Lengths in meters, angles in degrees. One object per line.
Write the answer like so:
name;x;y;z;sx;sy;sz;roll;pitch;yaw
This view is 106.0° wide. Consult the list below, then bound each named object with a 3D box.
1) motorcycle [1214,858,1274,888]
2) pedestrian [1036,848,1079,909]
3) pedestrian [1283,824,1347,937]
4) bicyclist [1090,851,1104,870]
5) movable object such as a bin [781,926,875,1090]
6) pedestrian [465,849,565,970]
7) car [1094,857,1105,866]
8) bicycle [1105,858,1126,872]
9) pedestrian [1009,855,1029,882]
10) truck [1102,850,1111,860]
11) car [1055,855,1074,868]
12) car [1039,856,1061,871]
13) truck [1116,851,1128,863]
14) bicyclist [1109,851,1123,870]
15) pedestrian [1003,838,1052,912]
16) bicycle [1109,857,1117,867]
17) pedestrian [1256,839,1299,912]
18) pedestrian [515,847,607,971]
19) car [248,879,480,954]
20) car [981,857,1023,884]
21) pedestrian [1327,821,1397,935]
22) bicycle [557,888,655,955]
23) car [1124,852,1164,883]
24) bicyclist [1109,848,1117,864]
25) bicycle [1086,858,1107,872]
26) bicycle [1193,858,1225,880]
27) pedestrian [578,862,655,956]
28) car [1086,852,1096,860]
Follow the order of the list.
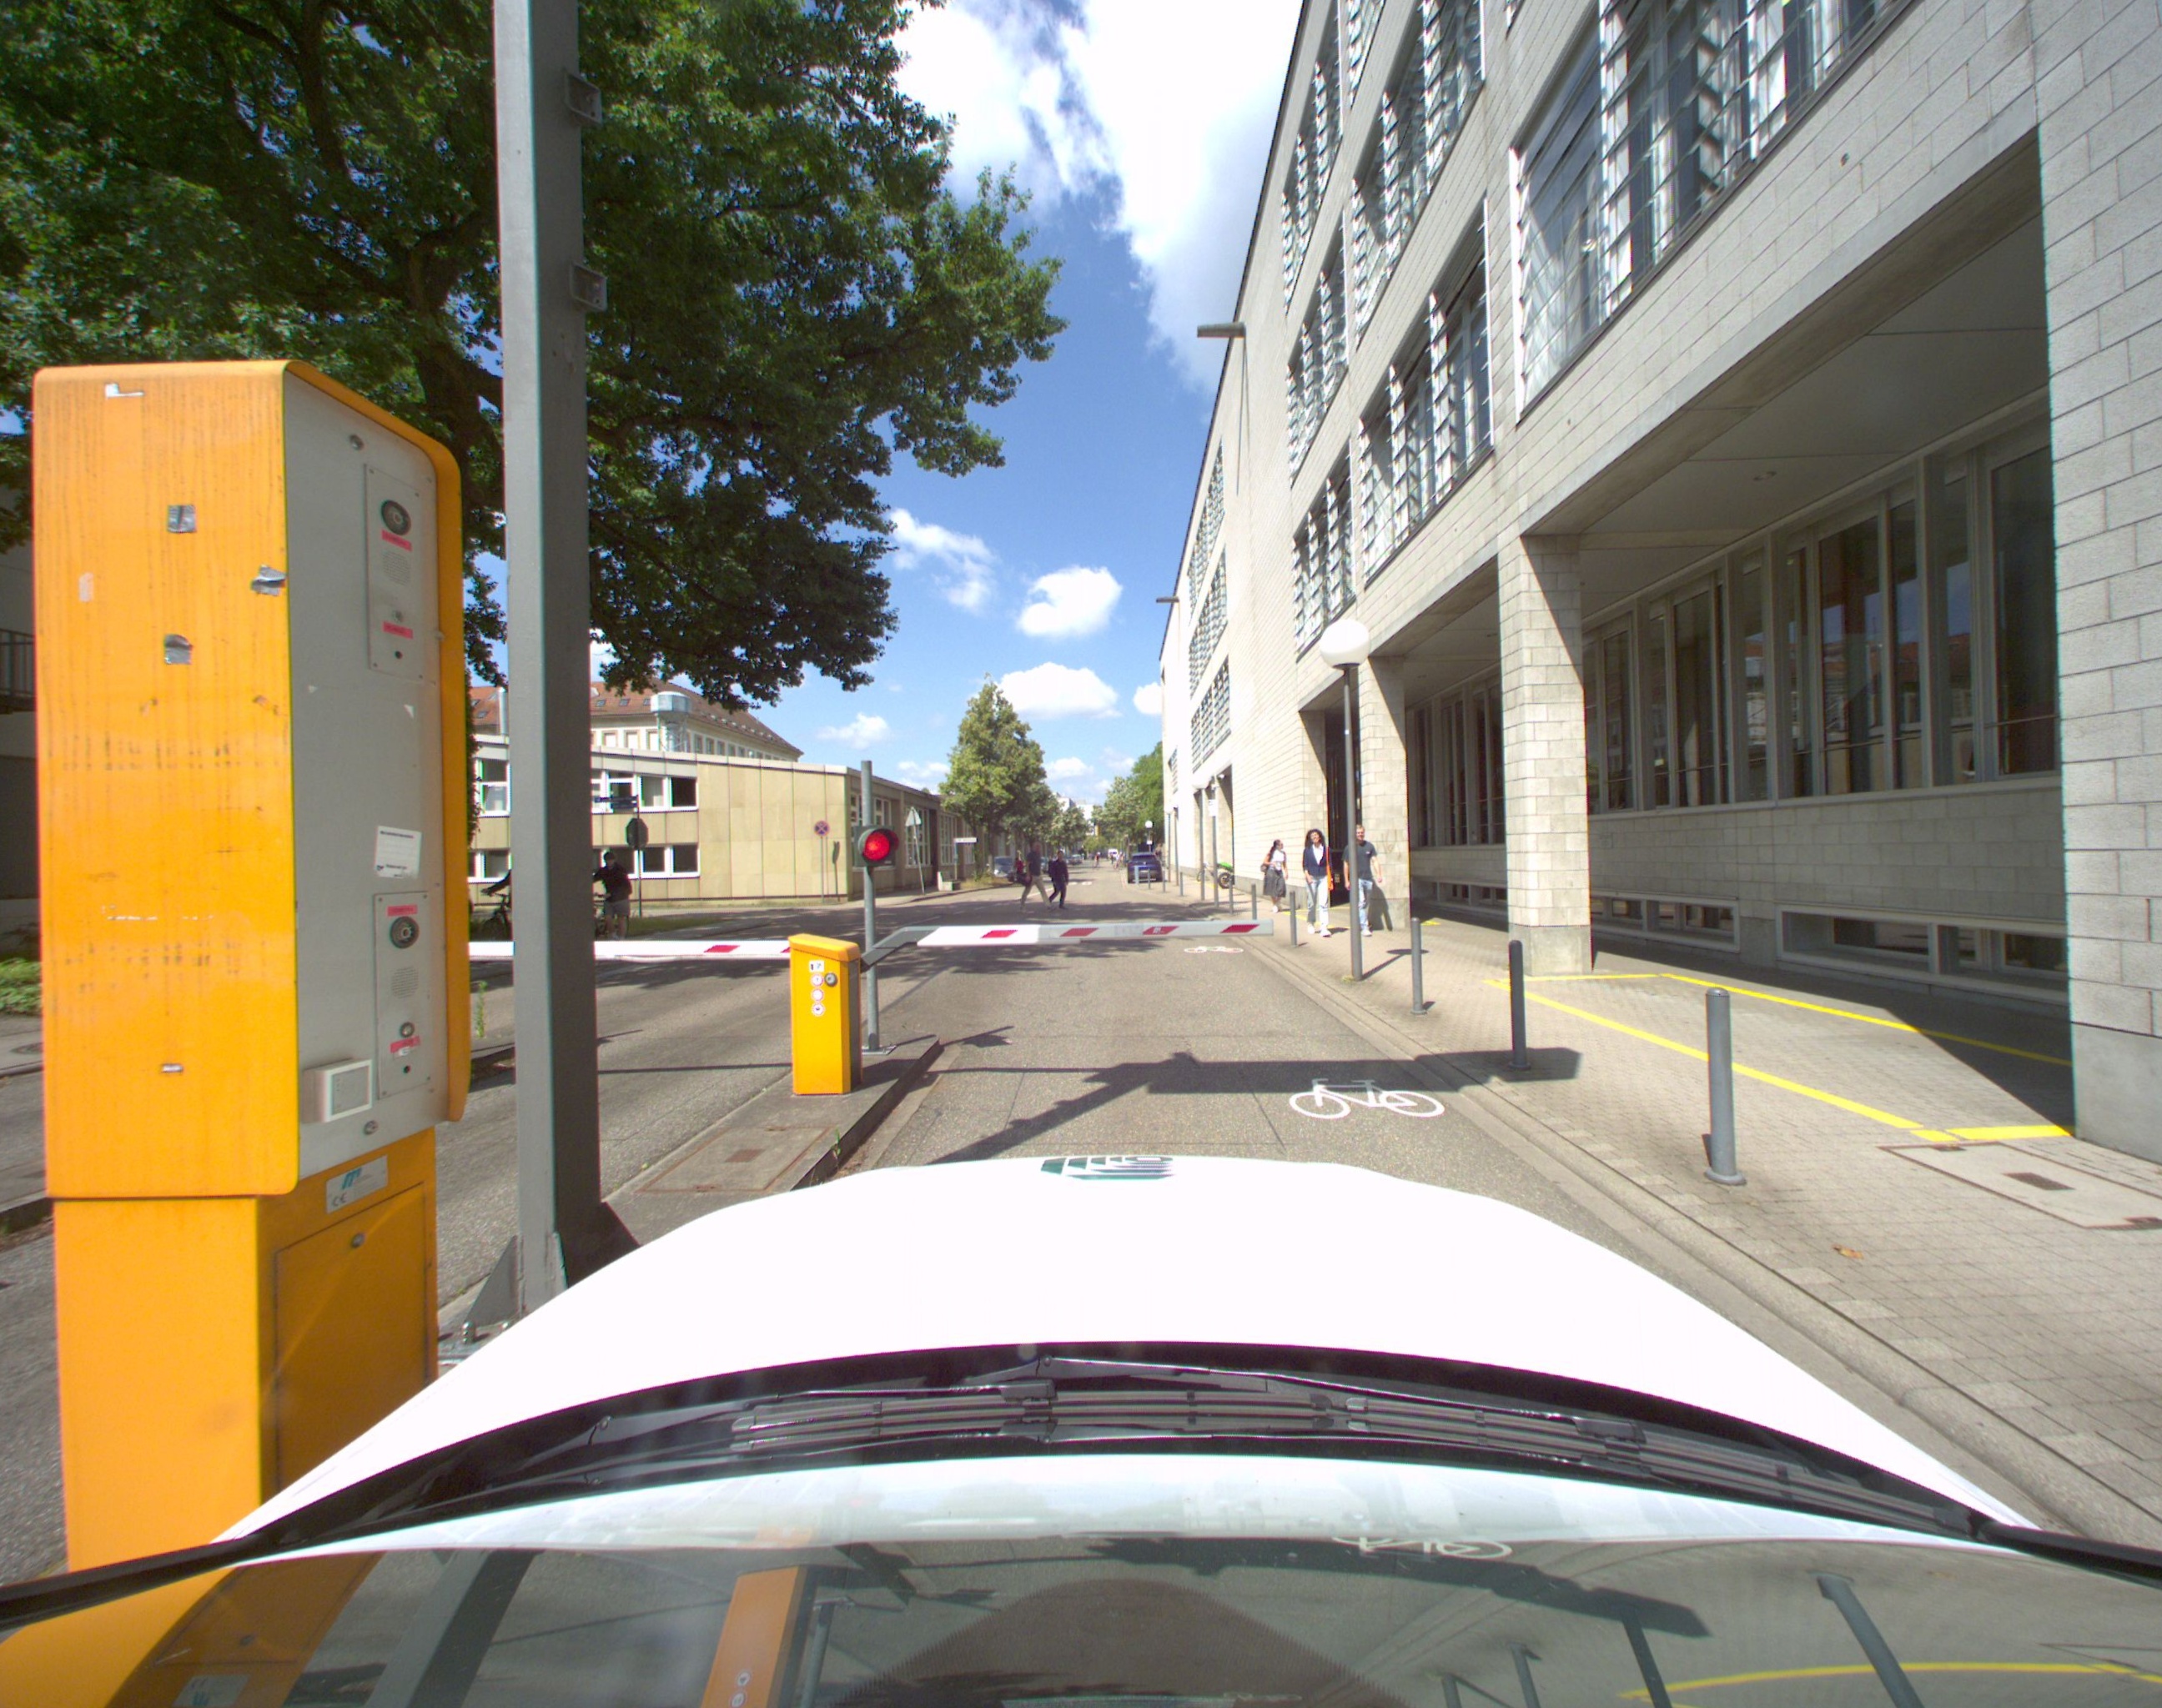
motorcycle;6.166;0.730;30.969;2.114;1.023;0.660;-4;-2;3
pedestrian;-0.657;0.669;22.534;0.899;1.632;0.879;0;-1;-27
pedestrian;3.905;0.420;13.654;0.692;1.780;1.086;-3;0;1
bicyclist;1.668;0.709;83.869;0.992;1.884;1.028;-1;-2;-25
movable object such as a bin;-1.500;0.898;4.854;0.413;0.905;0.353;-1;0;6
pedestrian;-8.956;0.840;12.933;1.058;1.815;0.801;-2;0;-17
car;4.000;1.615;177.303;1.984;1.720;4.005;-2;-2;5
bicycle;3.565;1.107;84.206;0.991;1.316;2.940;-1;-2;-24
pedestrian;-3.754;0.882;49.366;0.885;1.632;0.893;-2;-1;30
truck;6.261;0.269;198.768;2.225;2.298;4.842;-1;0;1
car;-2.039;0.878;101.347;1.985;1.545;4.215;-1;0;3
car;-3.350;1.050;88.978;1.985;1.545;4.215;-1;0;3
truck;7.425;0.557;148.692;1.987;2.014;4.000;-2;-2;1
bicyclist;3.616;0.650;84.121;0.992;1.884;1.028;-1;-2;-25
pedestrian;-1.432;0.558;21.807;1.008;1.925;0.879;0;-1;-27
bicycle;4.408;1.135;112.185;0.983;1.316;2.965;-2;-2;2
pedestrian;4.582;0.484;19.043;0.738;1.632;0.888;-3;0;1
pedestrian;-8.010;0.814;12.583;0.702;1.809;1.002;-2;0;1
car;-17.448;1.451;20.161;1.822;1.466;4.300;-1;0;1
car;-4.934;0.989;51.282;1.985;1.545;4.215;-1;0;3
pedestrian;4.665;0.383;13.573;0.764;1.780;0.911;-3;0;1
bicycle;-8.806;1.225;15.200;0.643;1.049;1.901;-2;0;1
car;3.322;0.688;43.776;1.985;1.545;4.215;-1;0;3
bicyclist;4.365;0.275;112.231;0.983;2.132;1.036;-2;-2;1
bicycle;1.620;1.165;83.946;0.991;1.316;2.940;-1;-2;-24
bicycle;6.404;0.745;40.623;1.534;1.066;0.649;-2;0;10
pedestrian;-8.264;0.957;14.524;0.852;1.586;0.805;-2;0;1
car;2.511;0.474;205.793;1.984;1.720;4.005;-2;-2;5
